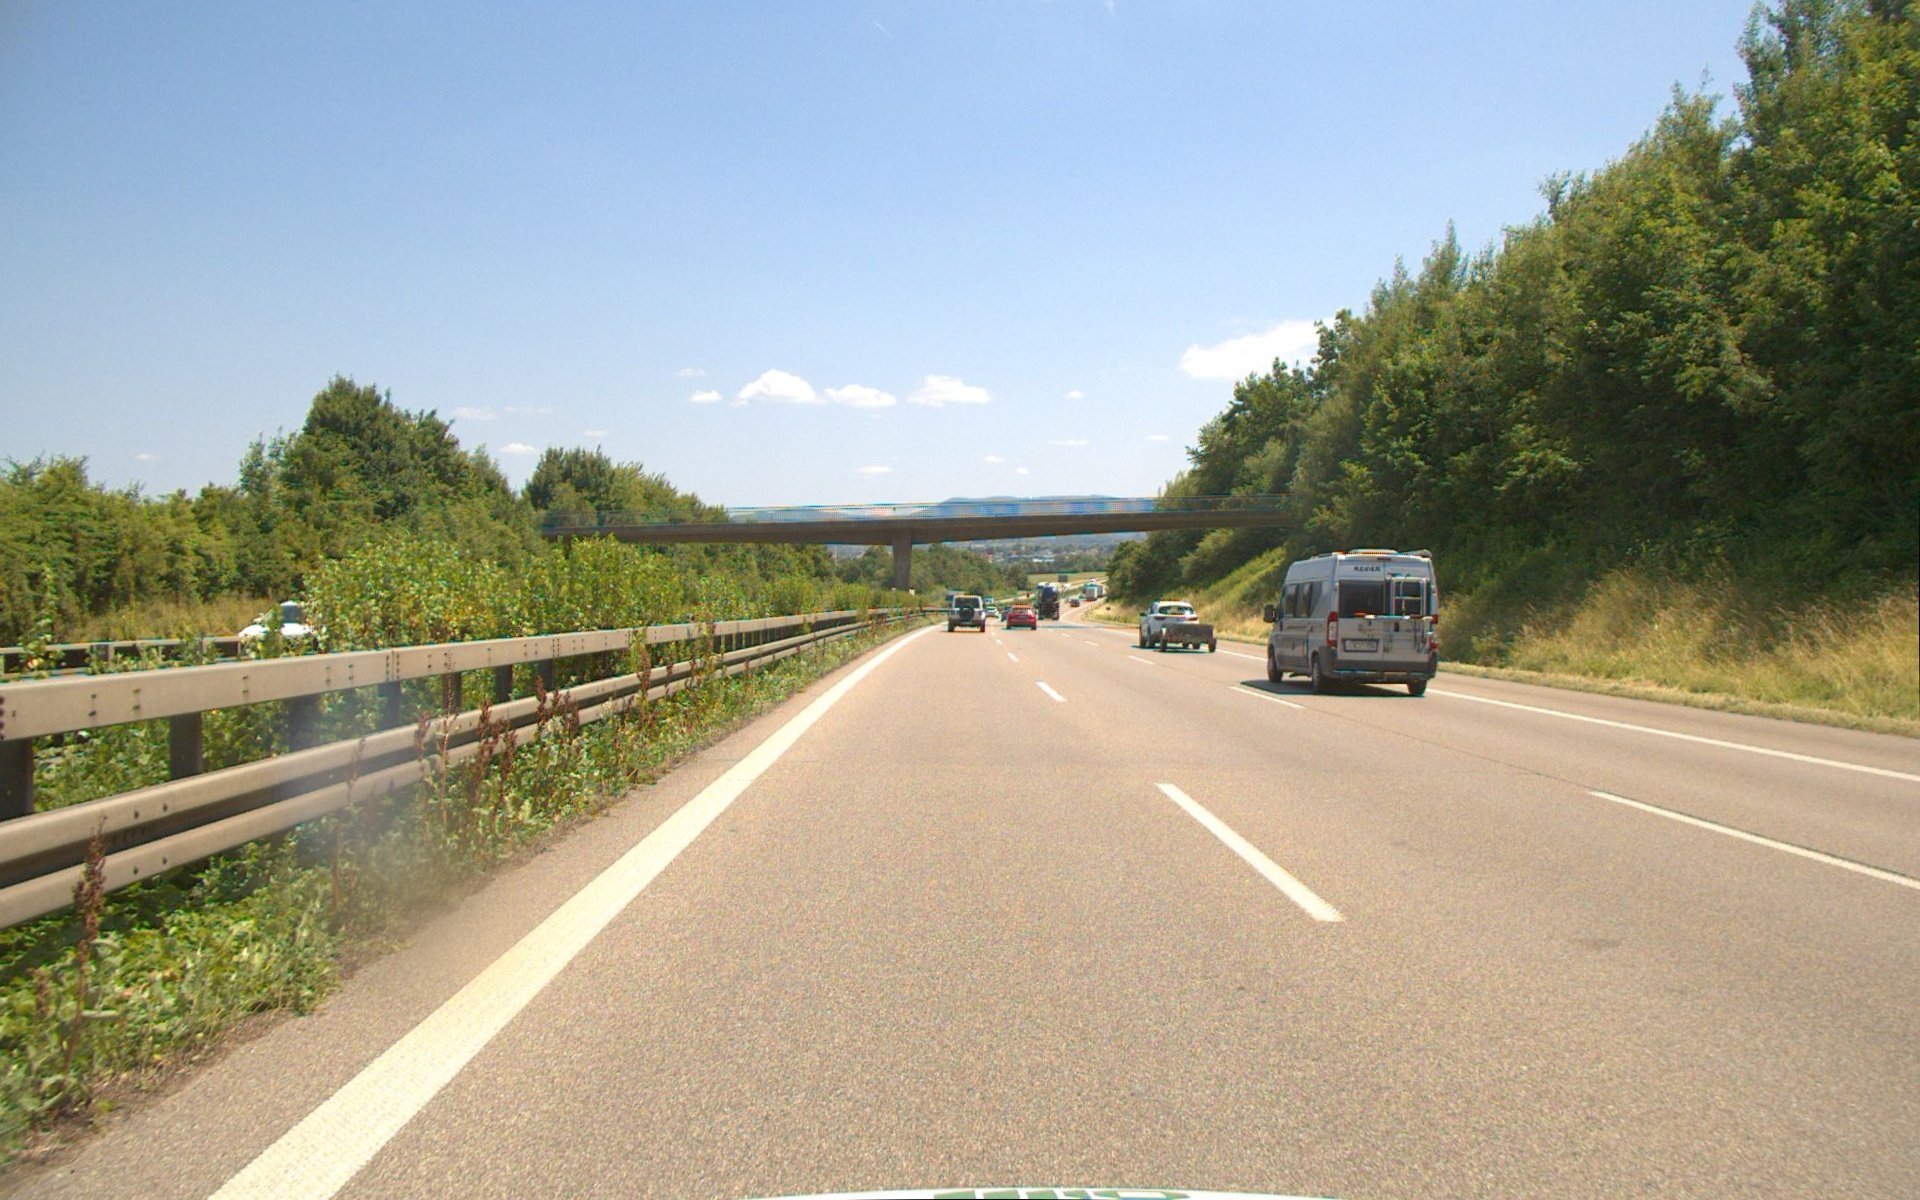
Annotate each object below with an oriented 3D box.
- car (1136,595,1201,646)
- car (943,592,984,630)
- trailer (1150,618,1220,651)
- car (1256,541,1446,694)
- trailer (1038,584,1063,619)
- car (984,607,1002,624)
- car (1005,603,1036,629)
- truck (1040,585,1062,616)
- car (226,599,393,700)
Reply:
[{"bbox_3d":[7.499,0.700,59.929,1.745,1.679,4.403,1,1,-1],"label":"car"},{"bbox_3d":[0.185,0.540,86.006,2.041,1.861,4.754,1,1,0],"label":"car"},{"bbox_3d":[7.516,1.129,55.559,1.718,0.924,4.319,1,1,-1],"label":"trailer"},{"bbox_3d":[7.417,0.256,32.142,2.047,2.621,6.622,1,1,0],"label":"car"},{"bbox_3d":[11.336,0.095,207.069,2.795,4.063,15.405,1,1,4],"label":"trailer"},{"bbox_3d":[4.329,2.047,215.389,1.661,2.049,3.826,1,1,11],"label":"car"},{"bbox_3d":[3.623,0.958,99.622,1.651,1.403,3.948,1,1,-1],"label":"car"},{"bbox_3d":[11.839,0.035,214.770,2.696,3.920,6.647,1,1,3],"label":"truck"},{"bbox_3d":[-13.299,0.955,34.082,1.764,1.847,4.289,1,1,-1],"label":"car"}]
